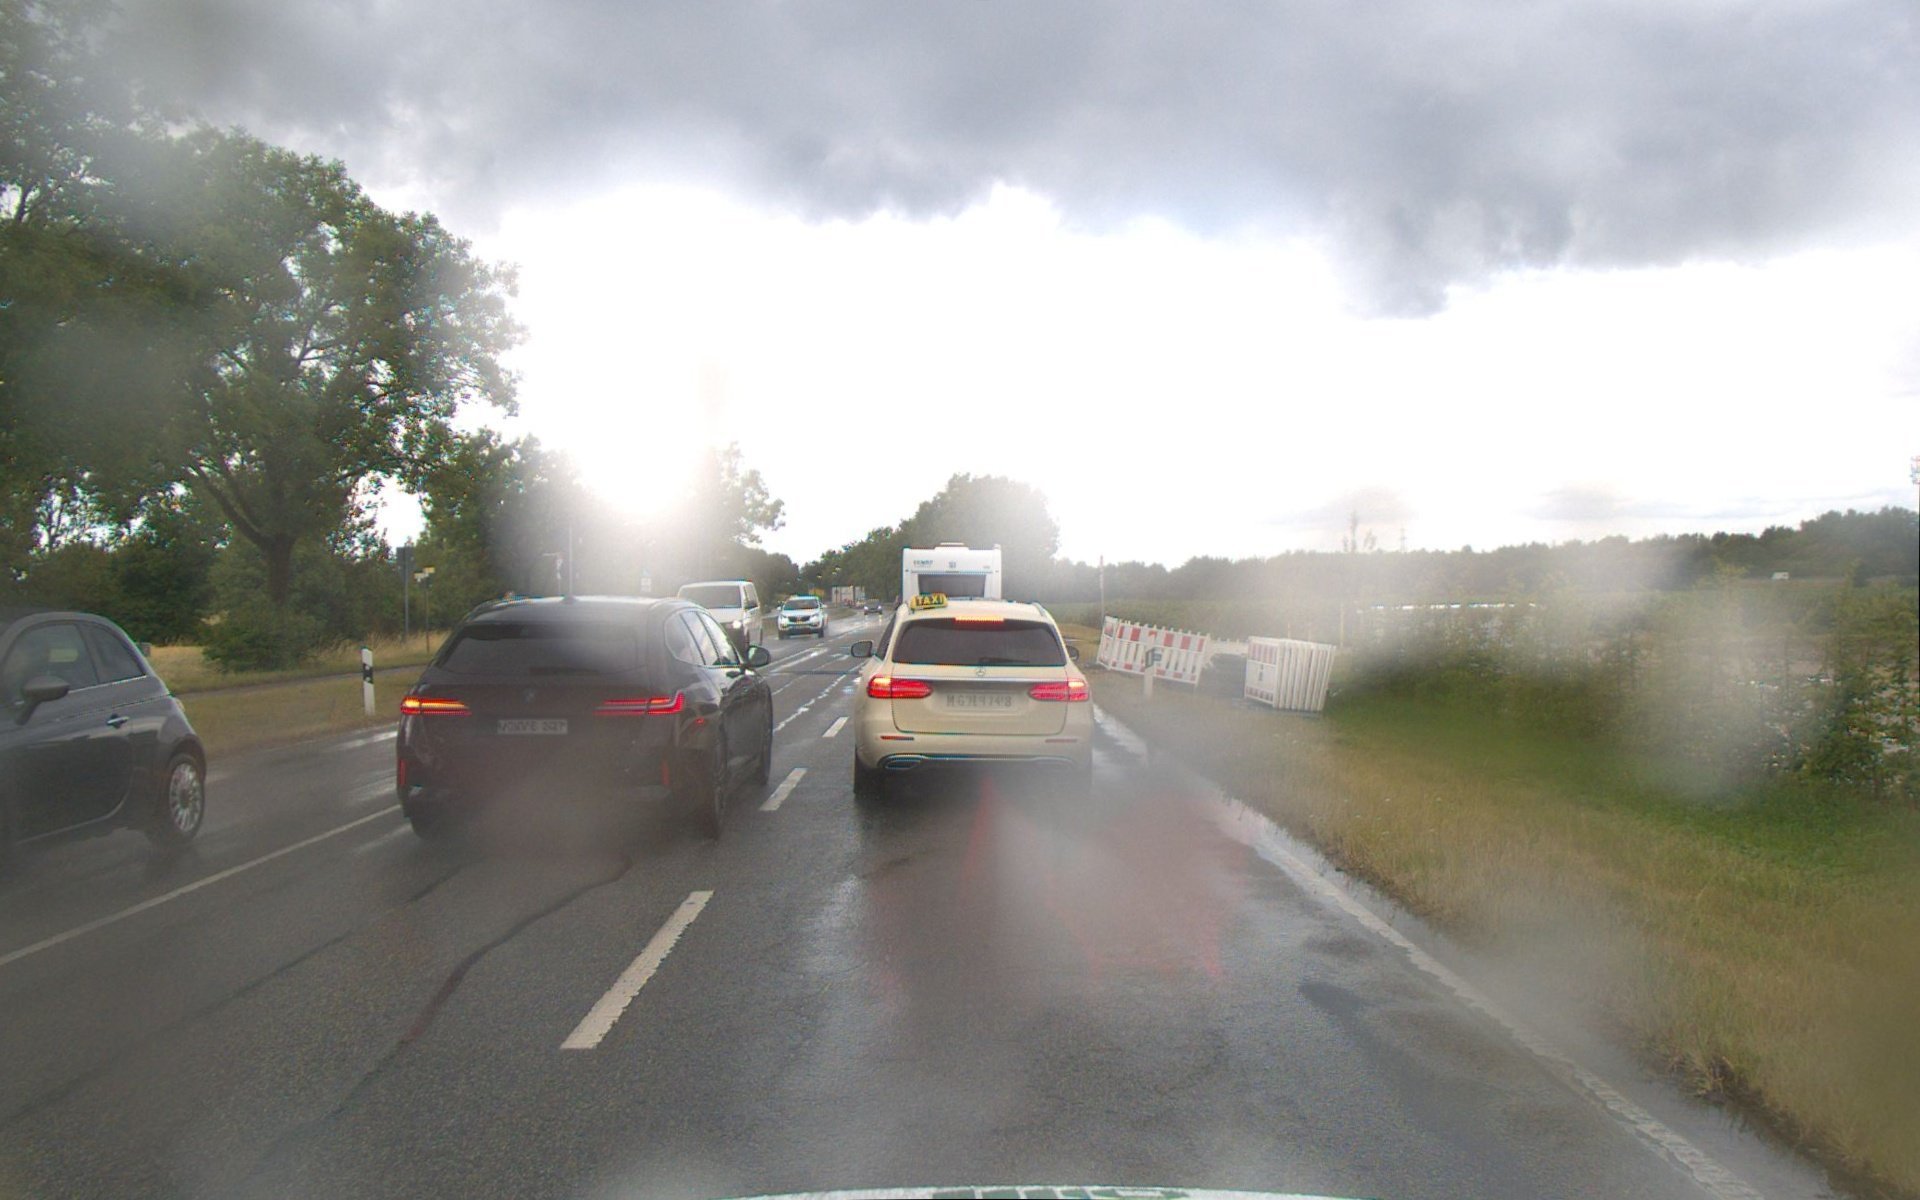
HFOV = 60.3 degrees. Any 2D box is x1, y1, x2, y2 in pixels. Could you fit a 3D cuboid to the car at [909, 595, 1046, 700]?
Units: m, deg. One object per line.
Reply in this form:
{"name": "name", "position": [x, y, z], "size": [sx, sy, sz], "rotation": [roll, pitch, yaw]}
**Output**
{"name": "car", "position": [0.219, 0.691, 25.839], "size": [1.953, 1.488, 3.999], "rotation": [1, 0, -1]}

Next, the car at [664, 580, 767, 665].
{"name": "car", "position": [-5.940, 0.527, 40.693], "size": [1.878, 1.894, 4.683], "rotation": [-3, 0, -2]}

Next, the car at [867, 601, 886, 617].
{"name": "car", "position": [-8.239, 0.882, 163.065], "size": [1.685, 1.429, 4.042], "rotation": [-3, 0, -2]}

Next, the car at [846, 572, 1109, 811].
{"name": "car", "position": [0.084, 0.637, 13.421], "size": [1.805, 1.646, 3.999], "rotation": [0, 0, -1]}

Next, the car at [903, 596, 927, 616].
{"name": "car", "position": [-4.254, 0.566, 155.980], "size": [1.955, 1.803, 3.996], "rotation": [-1, 0, -5]}

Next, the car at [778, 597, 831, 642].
{"name": "car", "position": [-6.284, 0.770, 67.088], "size": [1.669, 1.700, 4.155], "rotation": [-3, 0, 0]}

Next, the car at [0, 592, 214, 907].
{"name": "car", "position": [-5.511, 0.773, 8.866], "size": [1.470, 1.556, 3.300], "rotation": [-3, 0, 0]}

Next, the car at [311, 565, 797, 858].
{"name": "car", "position": [-2.445, 0.624, 11.378], "size": [2.255, 1.574, 4.631], "rotation": [1, 0, -1]}

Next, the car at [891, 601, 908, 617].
{"name": "car", "position": [-7.572, 1.067, 207.004], "size": [1.858, 1.928, 3.840], "rotation": [-1, 0, -4]}

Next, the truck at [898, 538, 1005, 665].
{"name": "truck", "position": [-0.264, 0.026, 40.432], "size": [2.315, 2.776, 7.312], "rotation": [-1, 0, -1]}
